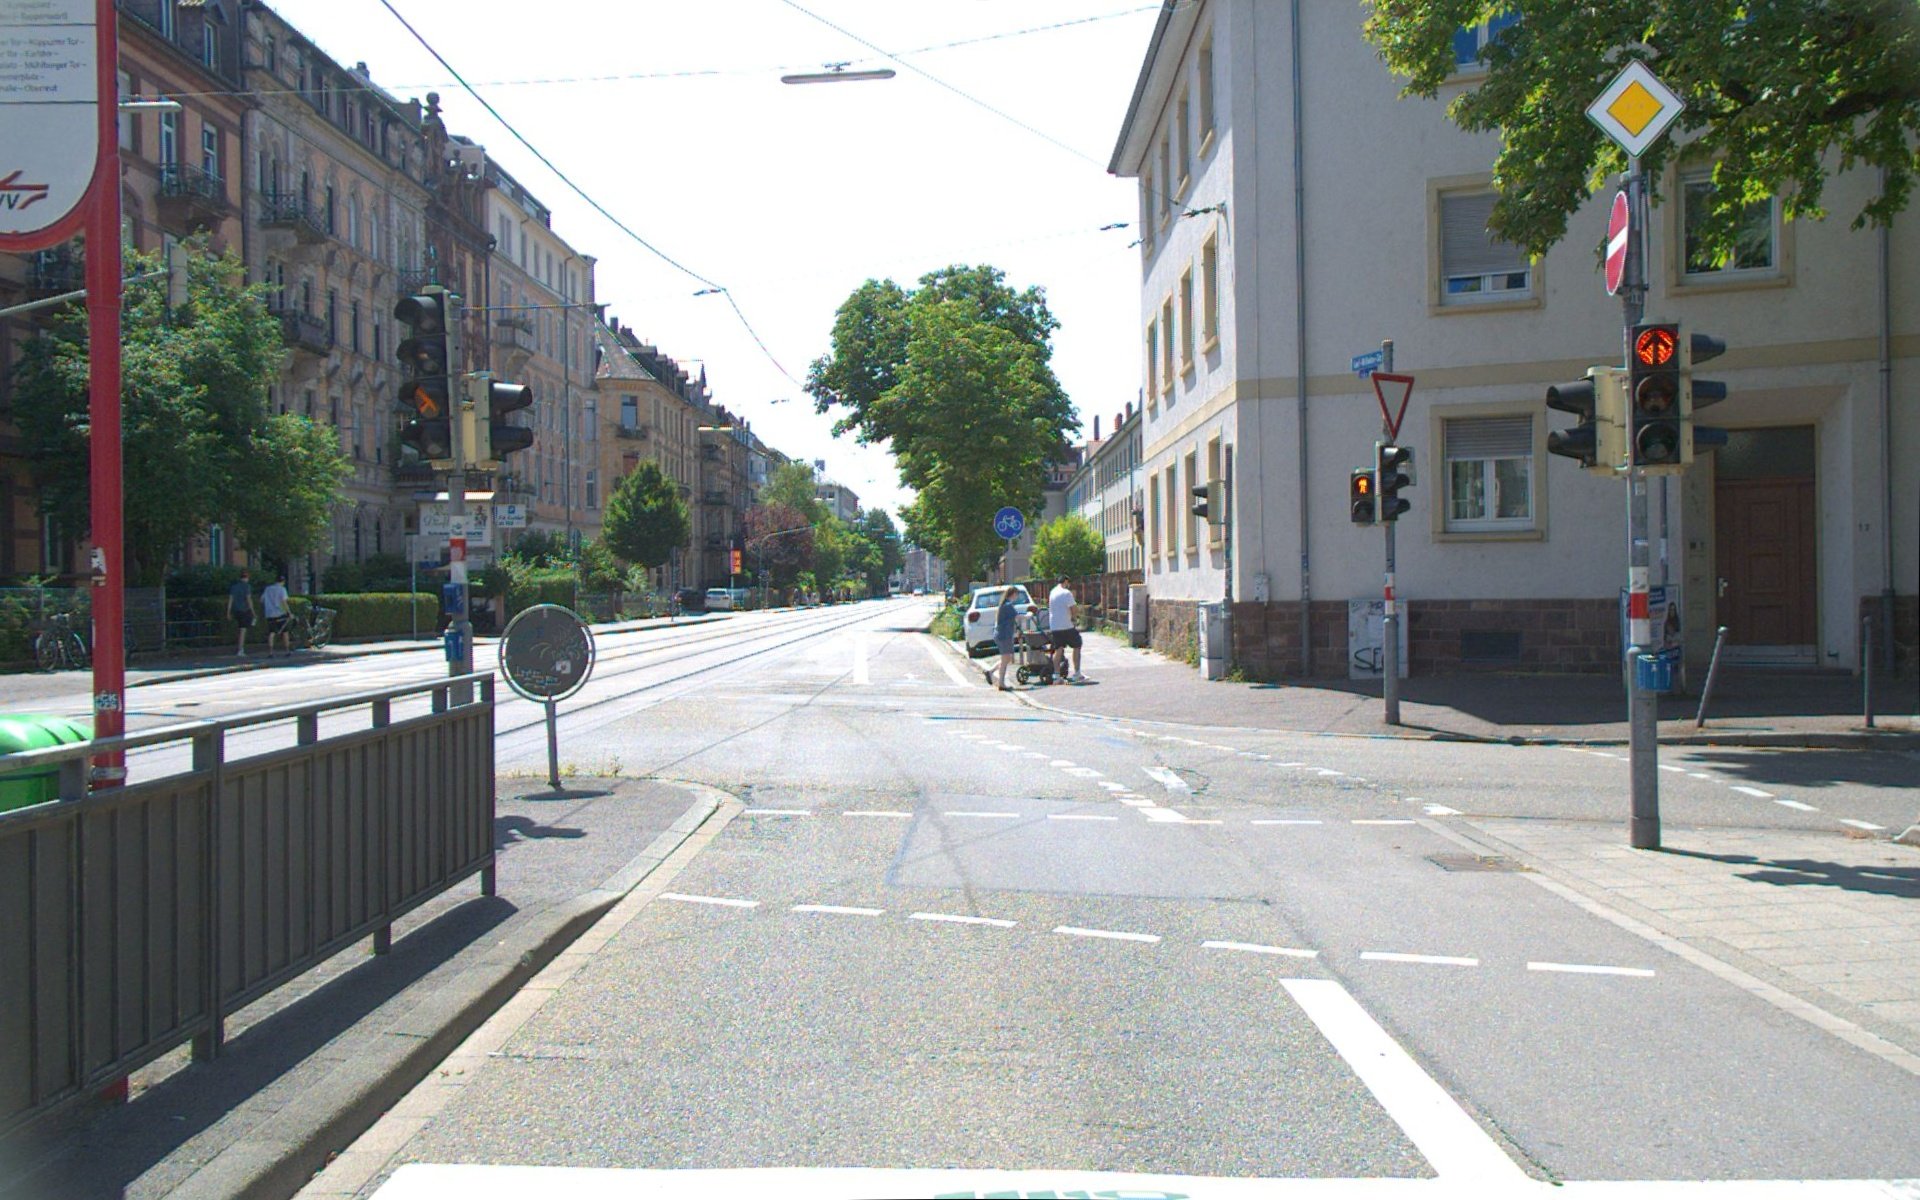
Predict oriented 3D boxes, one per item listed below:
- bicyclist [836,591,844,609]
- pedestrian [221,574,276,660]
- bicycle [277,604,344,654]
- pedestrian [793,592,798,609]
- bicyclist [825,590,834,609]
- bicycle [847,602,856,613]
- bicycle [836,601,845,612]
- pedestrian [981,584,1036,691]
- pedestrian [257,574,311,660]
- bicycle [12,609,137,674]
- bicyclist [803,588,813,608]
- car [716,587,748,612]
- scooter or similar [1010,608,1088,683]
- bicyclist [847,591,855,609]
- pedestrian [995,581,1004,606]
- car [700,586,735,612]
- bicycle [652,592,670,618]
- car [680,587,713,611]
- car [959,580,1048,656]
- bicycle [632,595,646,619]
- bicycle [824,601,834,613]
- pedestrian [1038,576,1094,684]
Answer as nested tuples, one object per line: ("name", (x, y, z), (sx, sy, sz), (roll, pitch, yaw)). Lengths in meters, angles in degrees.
("bicyclist", (-12.642, 0.036, 174.783), (0.712, 1.850, 1.079), (1, 0, 1))
("pedestrian", (-15.684, 0.355, 36.455), (0.799, 1.854, 0.874), (1, 1, 1))
("bicycle", (-15.886, 0.696, 40.517), (0.920, 1.156, 2.767), (1, 0, -9))
("pedestrian", (-14.641, 0.058, 147.122), (0.398, 1.486, 0.436), (-1, 0, -1))
("bicyclist", (-12.183, -0.063, 154.146), (0.712, 1.799, 1.079), (1, 0, 1))
("bicycle", (-11.486, 0.760, 174.689), (0.712, 1.142, 2.085), (1, 0, 1))
("bicycle", (-12.652, 0.739, 174.797), (0.712, 1.142, 2.085), (1, 0, 1))
("pedestrian", (0.766, 0.592, 26.306), (0.669, 1.674, 0.552), (1, -1, -33))
("pedestrian", (-14.931, 0.362, 36.533), (0.799, 1.854, 0.874), (1, 1, 1))
("bicycle", (-16.712, 0.756, 31.307), (0.918, 1.156, 2.773), (1, 0, -2))
("bicyclist", (-12.363, -0.157, 134.455), (0.712, 1.657, 1.079), (1, 0, 1))
("car", (-17.038, -0.025, 123.576), (1.880, 1.745, 3.999), (1, 0, -1))
("scooter or similar", (1.448, 0.733, 26.852), (1.194, 1.175, 0.550), (1, -1, -40))
("bicyclist", (-11.468, 0.025, 174.691), (0.712, 1.850, 1.079), (1, 0, 1))
("pedestrian", (2.532, -0.398, 106.193), (0.511, 1.590, 0.573), (-1, 0, -1))
("car", (-16.870, -0.056, 115.315), (1.880, 1.745, 3.999), (1, 0, -1))
("bicycle", (-15.273, 0.247, 84.437), (0.664, 1.301, 1.917), (-1, 0, -4))
("car", (-19.670, -0.070, 123.610), (1.880, 1.745, 3.999), (1, 0, -1))
("car", (0.928, 0.394, 37.336), (1.778, 1.542, 3.999), (-3, 0, -1))
("bicycle", (-15.496, 0.333, 79.790), (0.665, 1.083, 1.913), (-1, 0, -12))
("bicycle", (-12.193, 0.639, 154.183), (0.712, 1.142, 2.085), (1, 0, 1))
("pedestrian", (1.672, 0.470, 26.023), (0.669, 1.674, 0.552), (1, -1, -33))
